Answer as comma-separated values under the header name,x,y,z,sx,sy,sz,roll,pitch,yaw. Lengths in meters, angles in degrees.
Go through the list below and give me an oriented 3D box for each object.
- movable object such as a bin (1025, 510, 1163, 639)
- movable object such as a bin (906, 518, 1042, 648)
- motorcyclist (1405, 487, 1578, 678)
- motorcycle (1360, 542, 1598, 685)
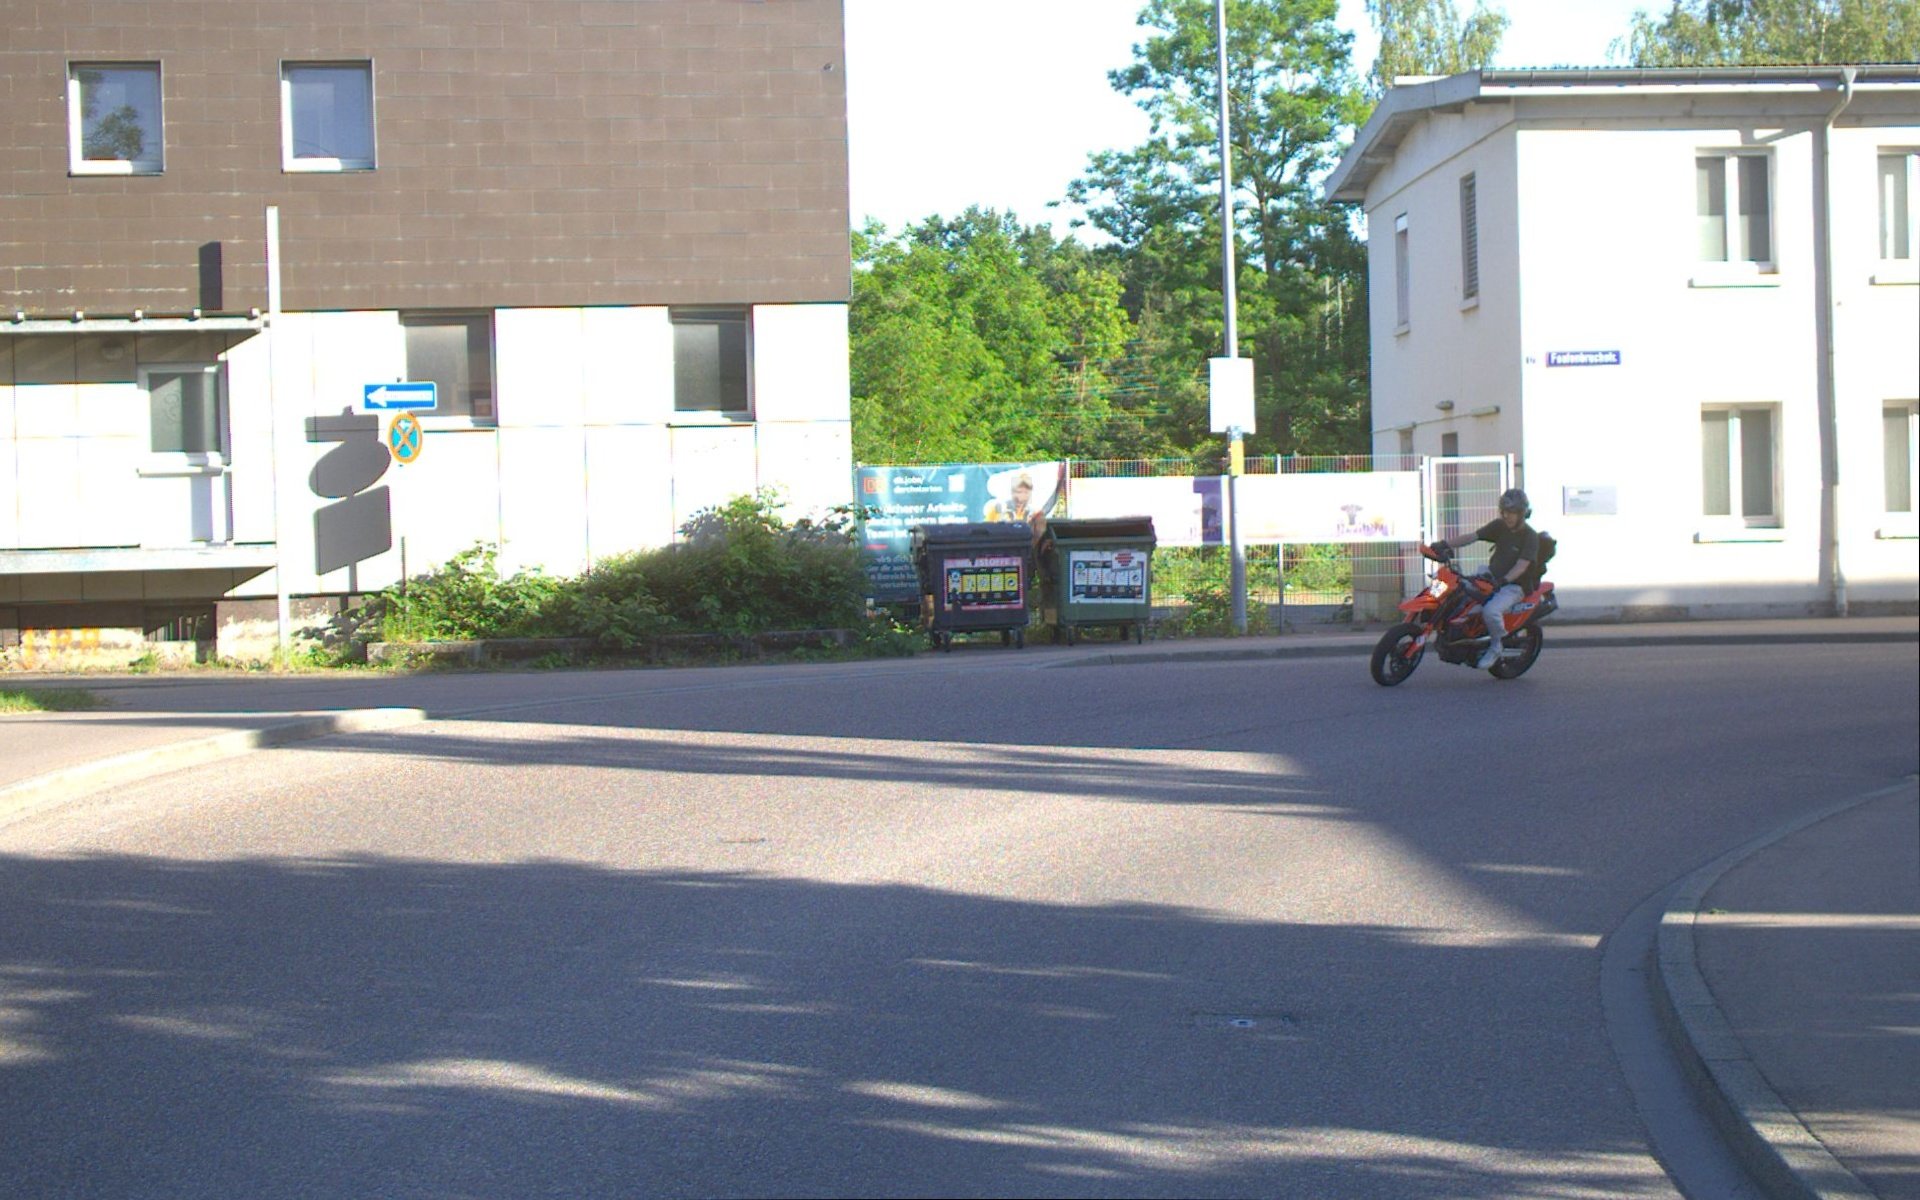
name,x,y,z,sx,sy,sz,roll,pitch,yaw
movable object such as a bin,1.515,-0.282,39.173,1.364,1.413,1.066,2,0,-8
movable object such as a bin,0.152,-0.189,38.809,1.364,1.413,1.066,2,0,-8
motorcyclist,4.580,-0.151,29.630,0.895,1.548,1.030,2,3,-43
motorcycle,4.477,0.099,29.567,2.031,1.182,0.962,-1,1,-43
